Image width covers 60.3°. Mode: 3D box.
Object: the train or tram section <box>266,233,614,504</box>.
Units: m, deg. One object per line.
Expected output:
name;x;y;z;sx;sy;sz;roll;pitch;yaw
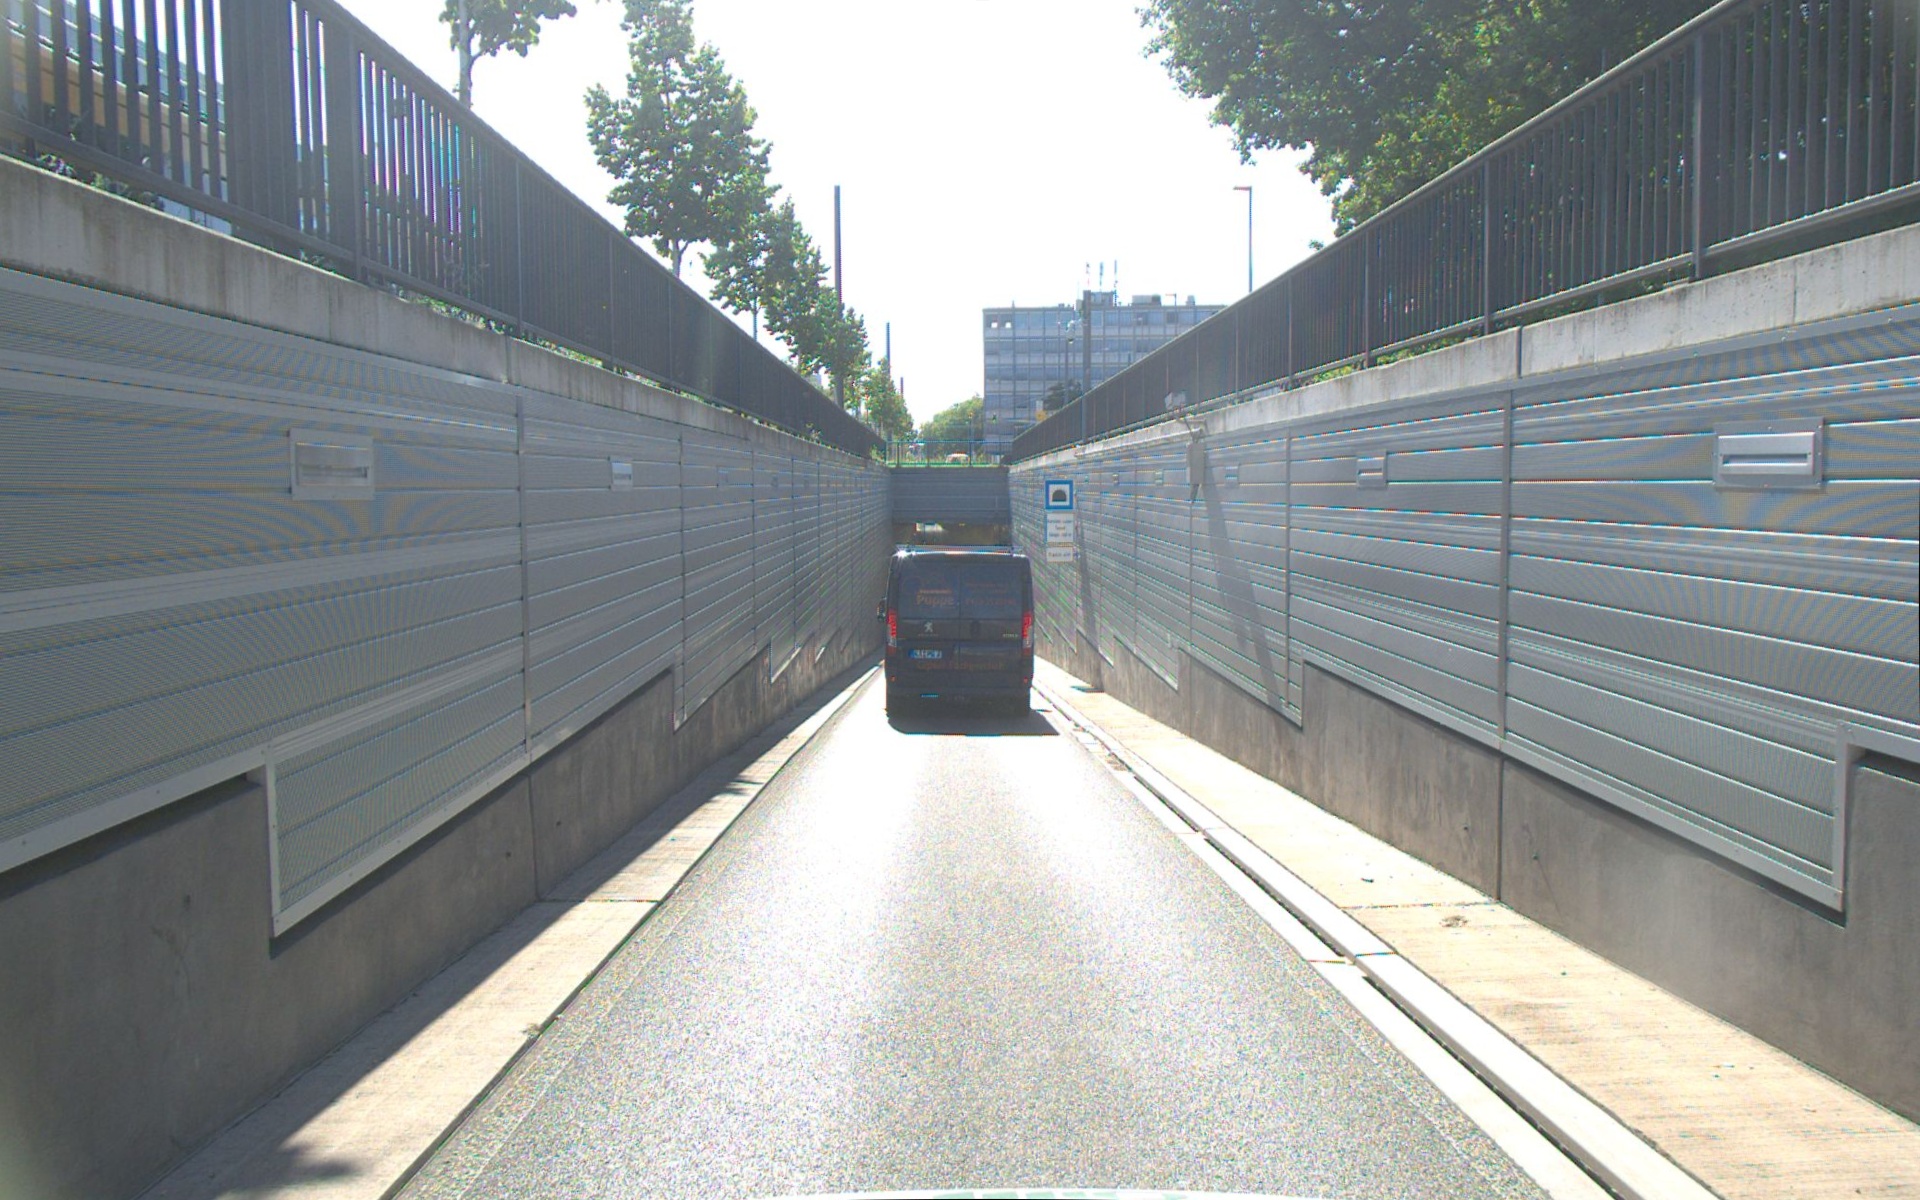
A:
train or tram section;-9.050;-3.785;30.944;2.557;3.886;13.093;1;3;-1

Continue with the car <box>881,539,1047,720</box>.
car;0.045;0.383;23.882;2.114;2.305;4.636;1;0;0

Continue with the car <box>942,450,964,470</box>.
car;-0.617;-11.691;138.571;1.705;1.589;4.000;0;4;-2

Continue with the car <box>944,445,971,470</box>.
car;-0.198;-9.564;110.863;1.705;1.589;4.000;0;4;-2

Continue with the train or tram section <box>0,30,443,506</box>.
train or tram section;-8.883;-2.913;17.767;2.557;3.718;13.345;1;3;0
